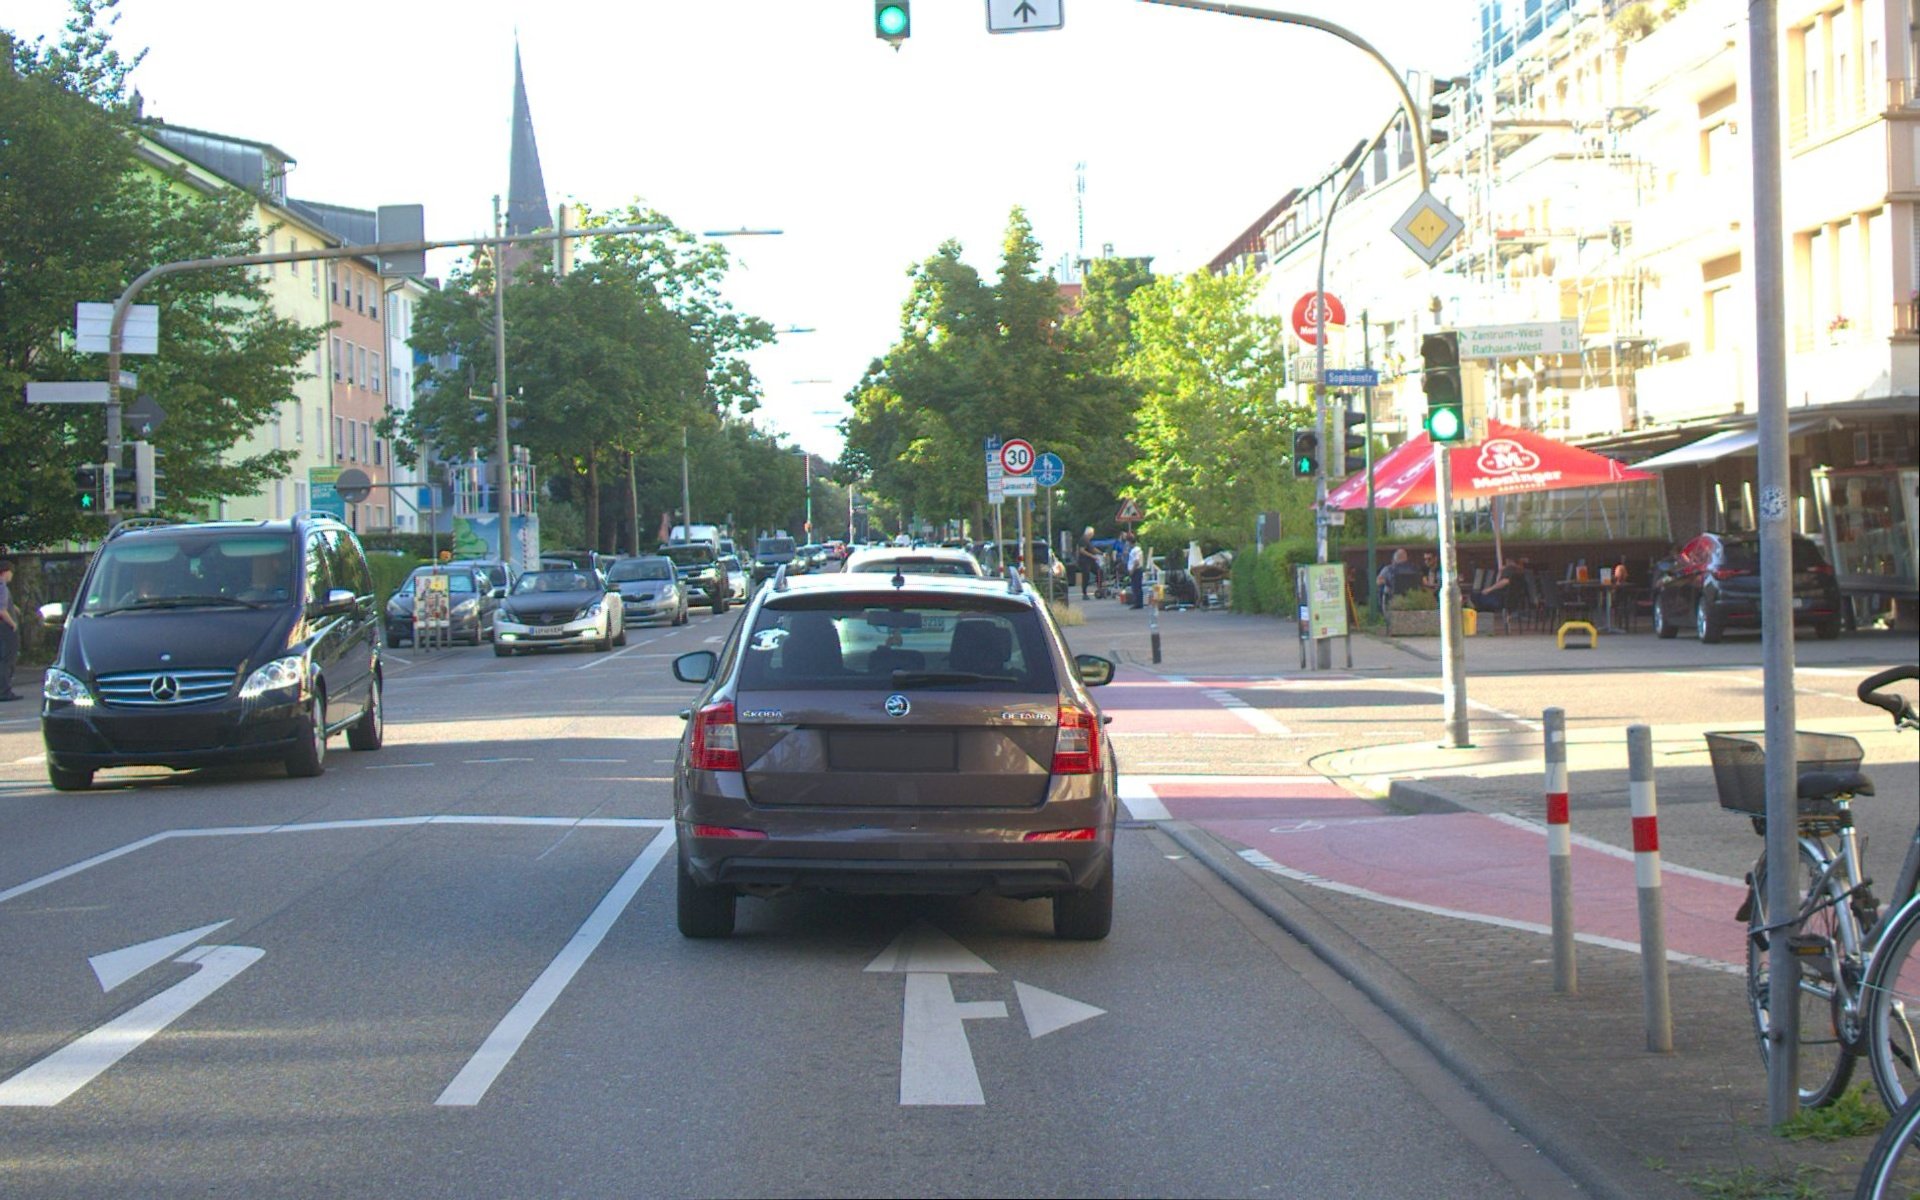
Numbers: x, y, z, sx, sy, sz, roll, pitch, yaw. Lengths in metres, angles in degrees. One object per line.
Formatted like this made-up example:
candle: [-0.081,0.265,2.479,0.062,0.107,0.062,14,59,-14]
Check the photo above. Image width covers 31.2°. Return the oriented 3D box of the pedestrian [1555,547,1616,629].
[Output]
pedestrian: [9.333,-0.182,51.338,0.729,1.194,0.855,-1,1,0]

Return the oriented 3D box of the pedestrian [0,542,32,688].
pedestrian: [-11.896,0.186,42.555,0.616,1.791,0.504,-2,1,0]

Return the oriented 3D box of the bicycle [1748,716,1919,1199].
bicycle: [2.387,0.757,5.987,1.835,1.153,0.683,-4,1,5]

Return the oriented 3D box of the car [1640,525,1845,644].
car: [10.419,-0.232,46.020,1.776,1.481,4.000,-2,1,0]

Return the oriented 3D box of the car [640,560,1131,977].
car: [-0.333,0.584,14.611,1.773,1.484,4.311,0,1,-2]

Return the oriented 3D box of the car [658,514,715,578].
car: [-10.975,-2.158,138.203,1.993,2.469,4.000,-2,1,-1]

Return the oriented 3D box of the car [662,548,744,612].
car: [-6.443,-0.514,86.503,1.787,1.565,4.000,0,1,0]

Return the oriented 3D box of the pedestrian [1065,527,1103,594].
pedestrian: [3.163,-1.012,87.884,0.675,1.698,0.800,-1,1,25]

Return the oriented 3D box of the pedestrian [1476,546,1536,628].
pedestrian: [8.108,-0.202,51.055,0.729,1.194,0.855,-1,1,0]

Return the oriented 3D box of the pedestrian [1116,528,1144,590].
pedestrian: [4.357,-1.053,88.207,0.578,1.557,0.520,-2,1,-10]

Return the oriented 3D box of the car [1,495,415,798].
car: [-5.402,0.271,25.401,1.993,1.902,4.964,-3,1,-2]

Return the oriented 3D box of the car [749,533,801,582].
car: [-7.920,-1.842,147.519,1.993,2.007,4.000,-2,1,-1]

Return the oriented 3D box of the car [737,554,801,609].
car: [-5.635,-0.573,101.833,1.704,1.545,4.002,-2,1,-1]

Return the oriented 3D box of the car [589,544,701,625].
car: [-6.649,-0.352,72.906,1.993,1.605,4.000,-2,1,0]

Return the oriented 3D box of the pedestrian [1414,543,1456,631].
pedestrian: [7.146,-0.195,51.764,0.499,1.298,0.507,-2,1,-4]

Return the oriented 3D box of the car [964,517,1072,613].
car: [1.142,-0.676,66.029,1.993,1.766,4.000,1,1,2]

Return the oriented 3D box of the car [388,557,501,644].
car: [-9.214,-0.013,61.631,1.522,1.452,3.585,-2,1,-1]

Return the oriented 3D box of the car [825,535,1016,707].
car: [-0.378,0.164,33.496,1.737,1.565,4.000,0,1,0]

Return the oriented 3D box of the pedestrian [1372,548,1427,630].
pedestrian: [6.504,-0.172,50.892,0.677,1.194,0.855,-1,1,-1]

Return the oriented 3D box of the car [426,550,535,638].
car: [-9.325,-0.143,67.135,1.560,1.612,4.000,-2,1,0]

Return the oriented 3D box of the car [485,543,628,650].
car: [-6.385,-0.082,54.748,1.830,1.574,4.000,-2,1,-1]

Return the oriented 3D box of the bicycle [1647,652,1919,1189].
bicycle: [2.280,0.733,8.444,0.501,1.143,1.959,-4,1,-7]

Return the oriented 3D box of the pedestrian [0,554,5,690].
pedestrian: [-12.259,0.232,42.949,0.449,1.791,0.504,-2,1,-1]

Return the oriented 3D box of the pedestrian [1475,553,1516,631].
pedestrian: [8.109,-0.123,52.060,0.505,1.172,0.428,-2,1,-1]
